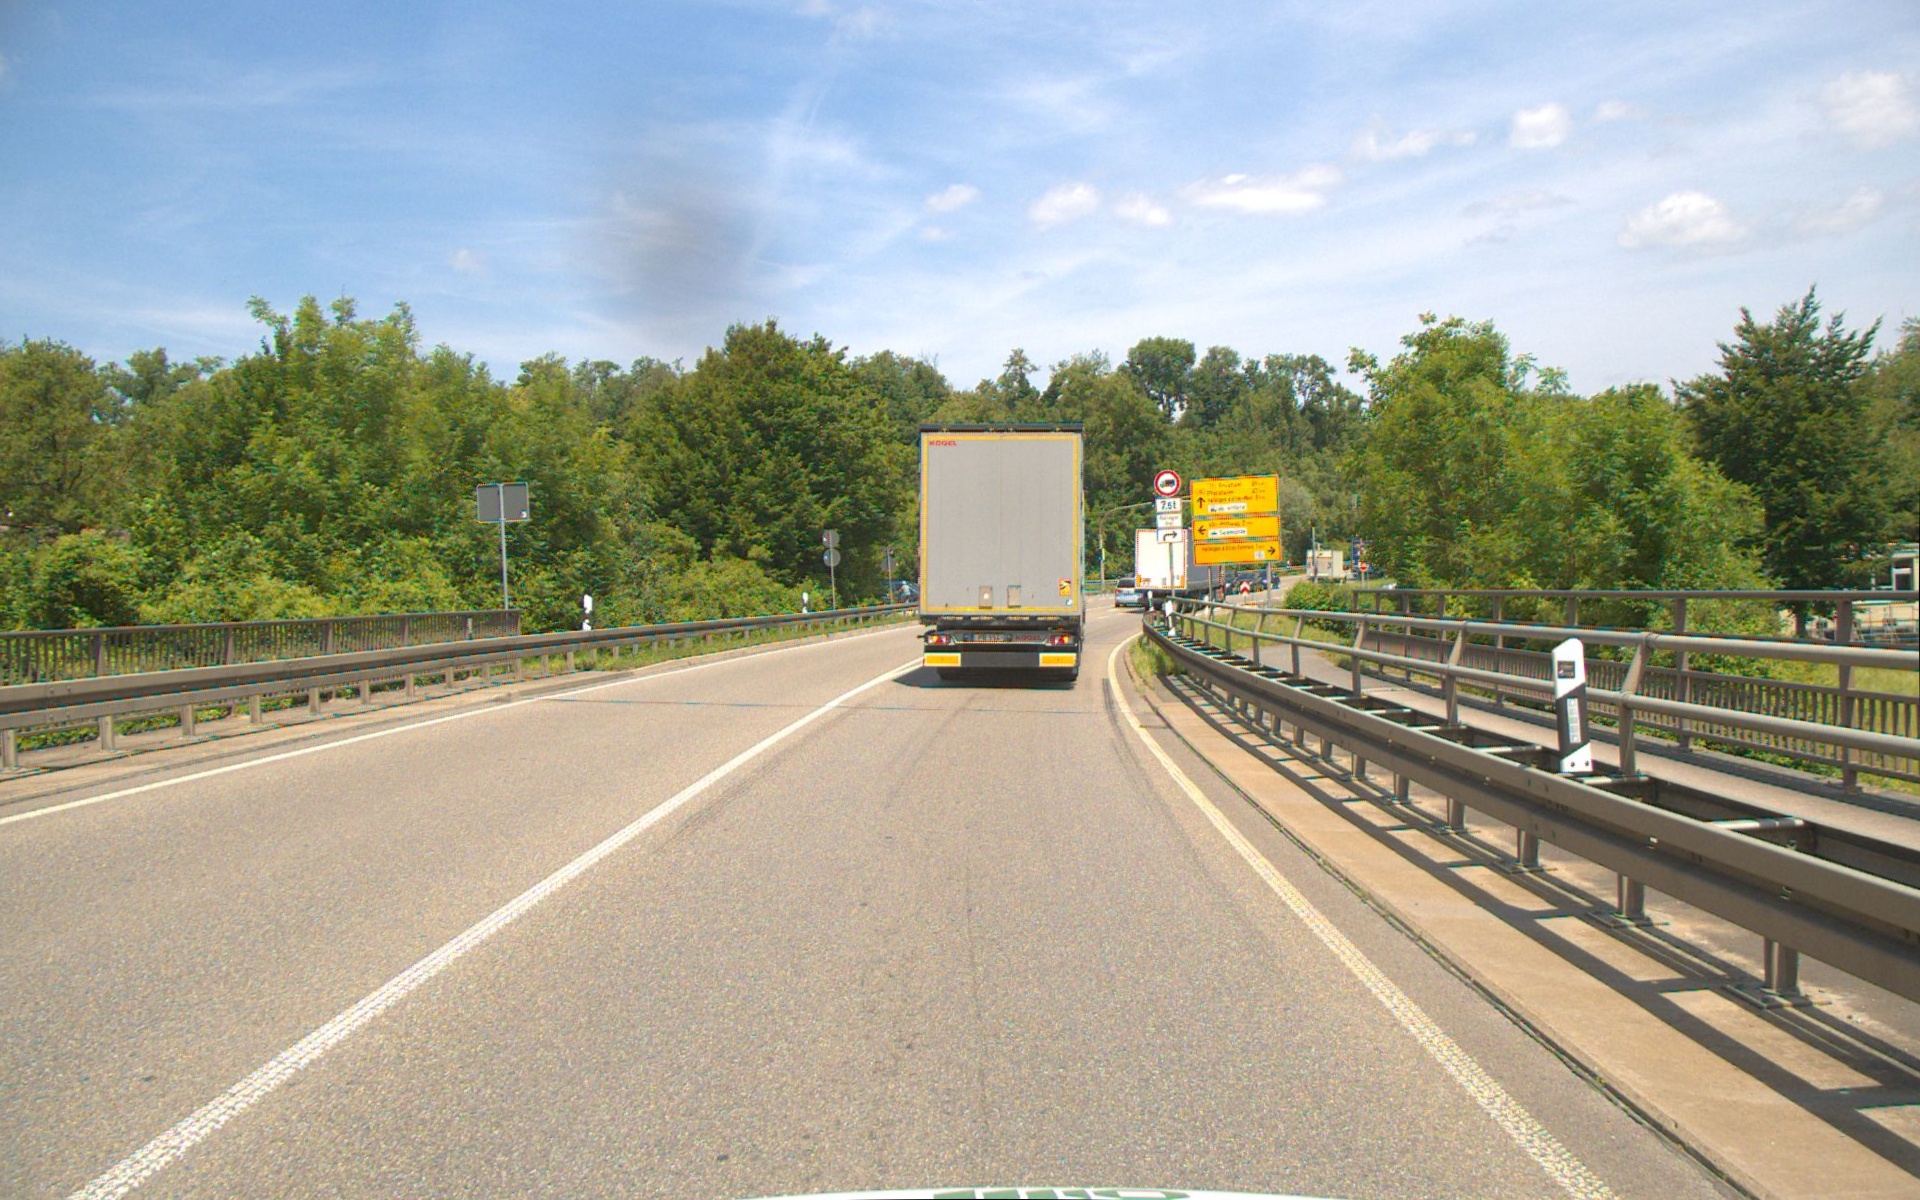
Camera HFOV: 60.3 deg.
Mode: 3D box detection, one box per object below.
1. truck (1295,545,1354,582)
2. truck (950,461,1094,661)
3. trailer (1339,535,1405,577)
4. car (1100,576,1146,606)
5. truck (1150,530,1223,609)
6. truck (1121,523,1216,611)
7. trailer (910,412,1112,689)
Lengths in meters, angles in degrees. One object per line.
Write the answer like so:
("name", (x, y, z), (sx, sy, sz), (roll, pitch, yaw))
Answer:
("truck", (30.134, -2.982, 136.548), (2.802, 2.999, 7.092), (0, 1, 30))
("truck", (1.461, -0.823, 37.550), (2.974, 4.104, 6.632), (0, 0, 3))
("trailer", (38.094, -4.009, 152.727), (3.193, 3.749, 9.228), (0, 1, 32))
("car", (9.052, -0.473, 91.595), (1.951, 1.545, 4.003), (1, -1, 15))
("truck", (12.212, -1.565, 88.824), (3.101, 4.074, 5.819), (0, 0, 15))
("truck", (10.654, -1.545, 83.156), (3.111, 4.099, 11.753), (0, 0, 15))
("trailer", (1.101, -0.774, 30.969), (2.988, 4.104, 12.564), (0, 0, 3))
